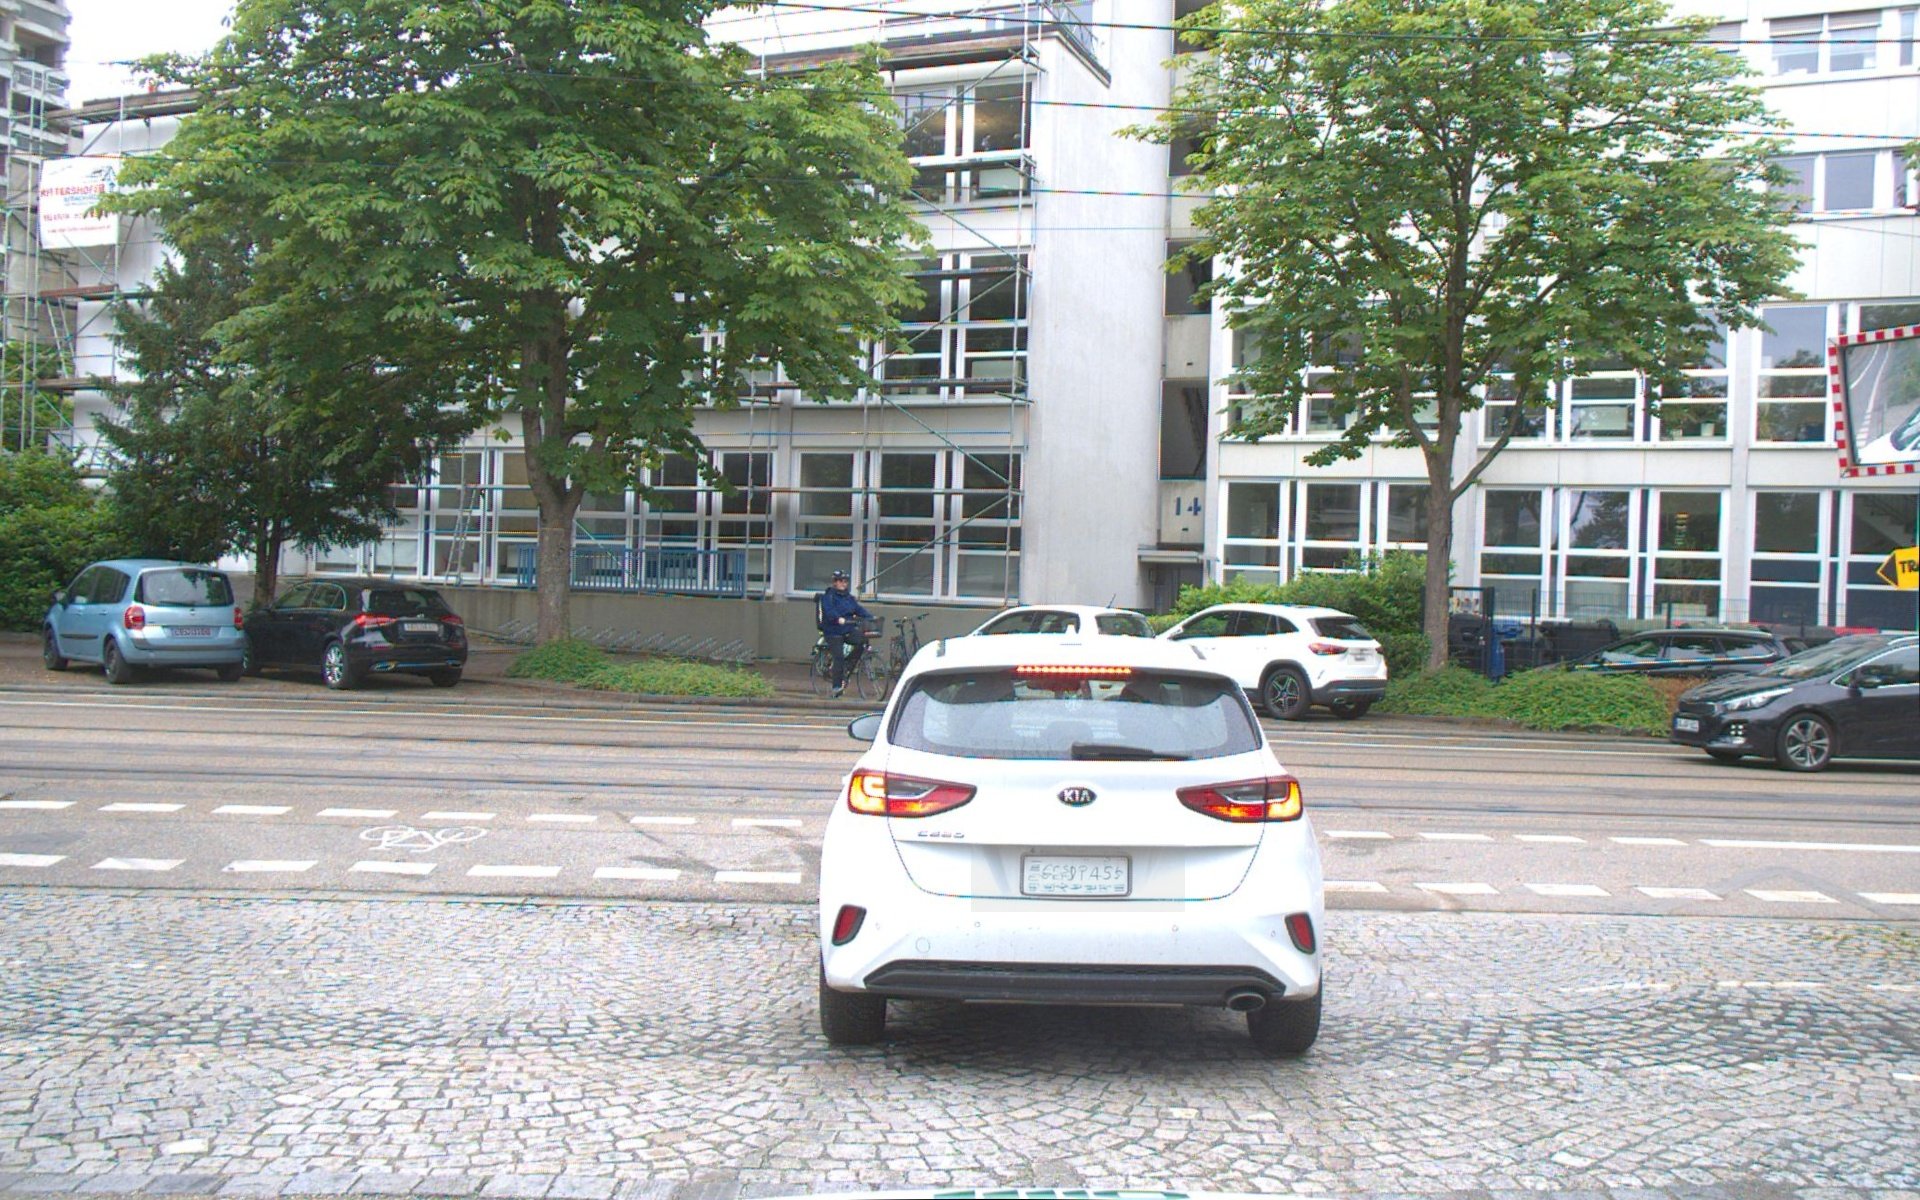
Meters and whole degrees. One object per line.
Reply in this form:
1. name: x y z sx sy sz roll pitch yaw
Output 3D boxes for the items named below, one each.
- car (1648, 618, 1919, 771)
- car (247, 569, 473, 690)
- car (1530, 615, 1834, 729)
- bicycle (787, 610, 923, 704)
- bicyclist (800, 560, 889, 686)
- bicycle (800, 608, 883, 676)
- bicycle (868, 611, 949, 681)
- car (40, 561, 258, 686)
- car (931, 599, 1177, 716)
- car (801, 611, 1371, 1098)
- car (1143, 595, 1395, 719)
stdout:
1. car: 10.028 1.024 18.174 4.157 1.516 1.822 2 0 -3
2. car: -8.304 0.365 22.791 3.279 1.537 1.608 1 0 43
3. car: 10.792 1.027 24.853 3.881 1.499 1.665 1 0 40
4. bicycle: -1.481 0.776 23.094 1.883 1.194 0.816 2 0 44
5. bicyclist: -1.626 0.314 23.253 0.882 1.727 0.828 2 0 45
6. bicycle: -2.122 0.739 29.996 0.631 1.093 2.313 2 2 19
7. bicycle: -0.898 0.805 29.526 0.631 1.093 2.313 2 2 19
8. car: -11.161 0.285 22.699 3.279 1.564 1.608 2 0 43
9. car: 1.297 0.775 23.622 1.545 1.499 3.353 1 0 -44
10. car: 0.474 0.853 7.094 1.738 1.458 3.979 1 -2 2
11. car: 4.455 0.780 24.113 1.545 1.646 3.353 1 0 -44
